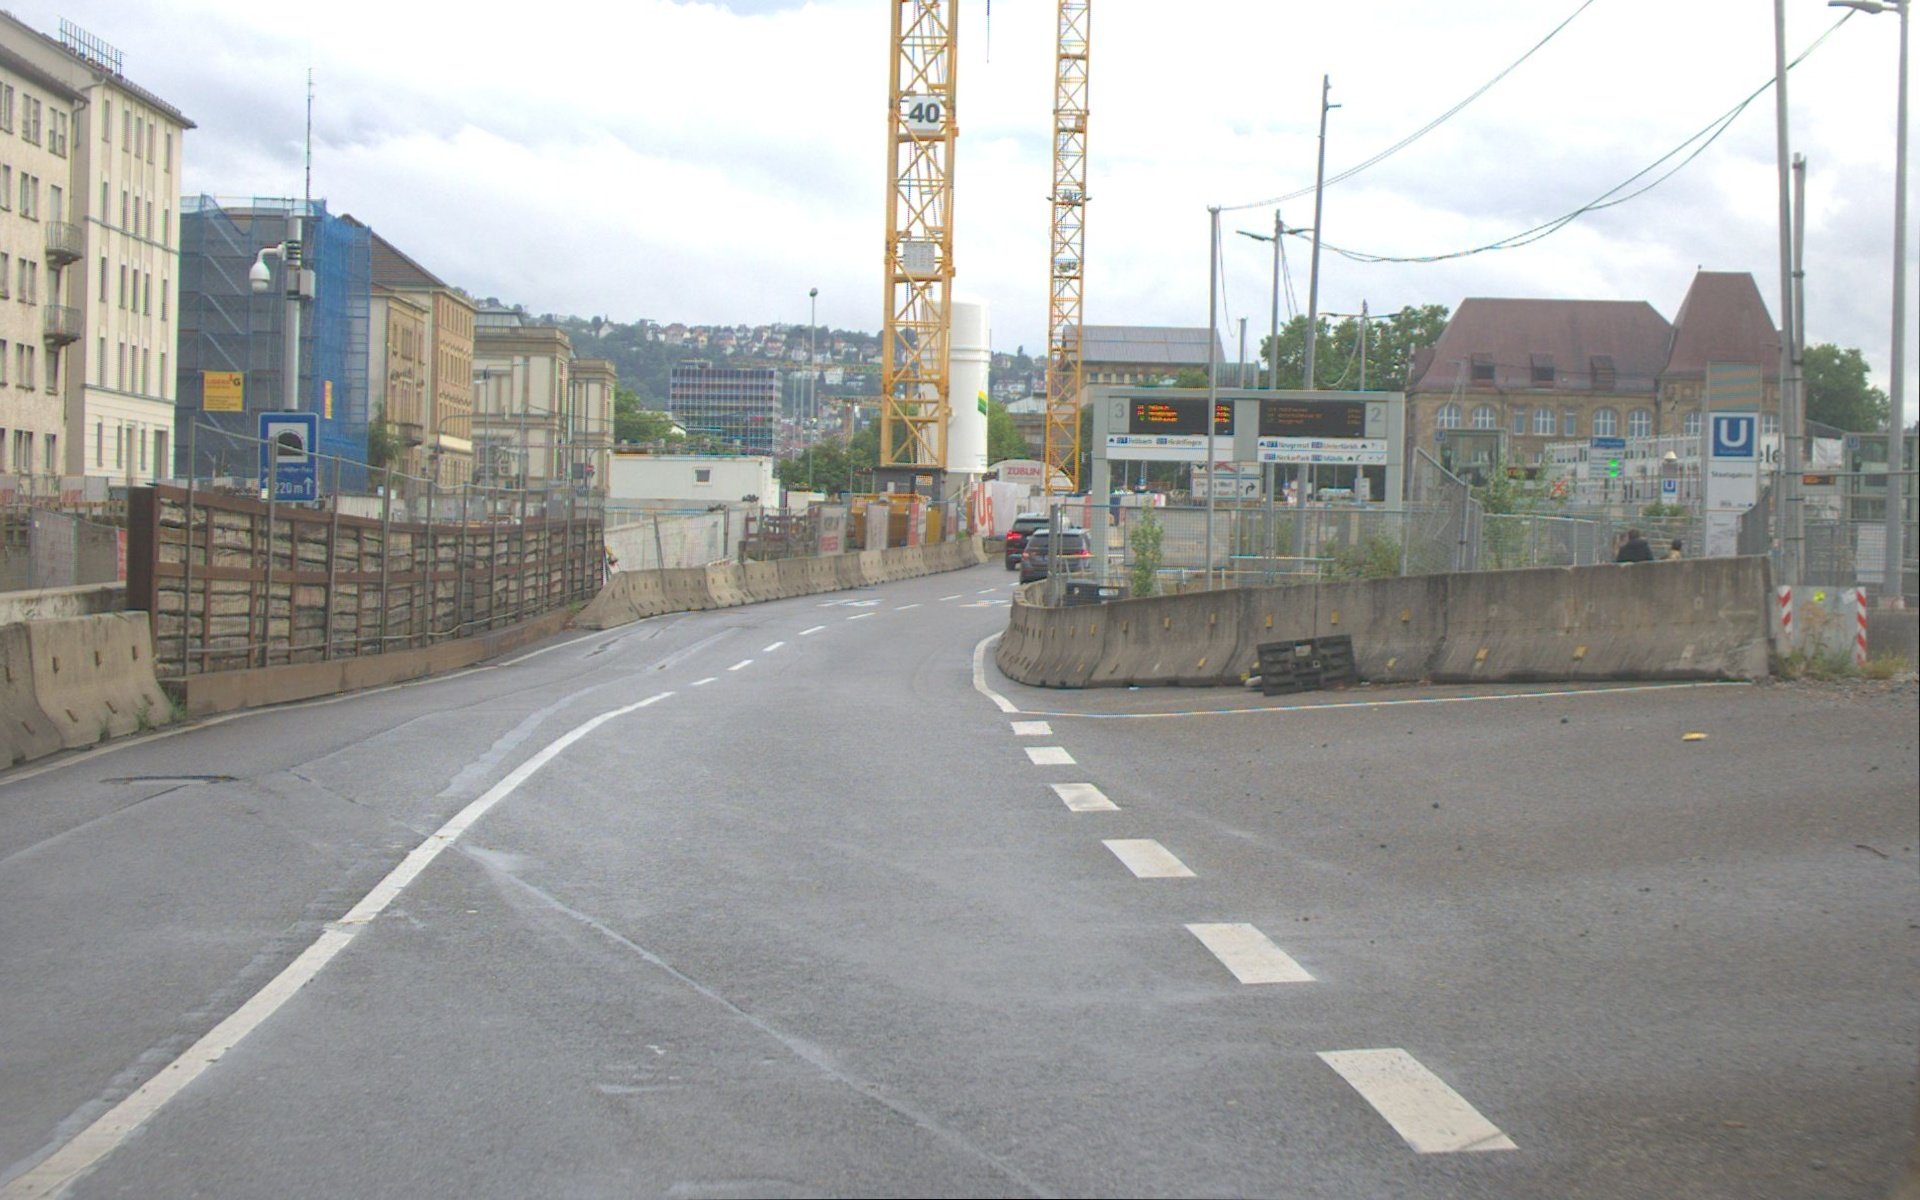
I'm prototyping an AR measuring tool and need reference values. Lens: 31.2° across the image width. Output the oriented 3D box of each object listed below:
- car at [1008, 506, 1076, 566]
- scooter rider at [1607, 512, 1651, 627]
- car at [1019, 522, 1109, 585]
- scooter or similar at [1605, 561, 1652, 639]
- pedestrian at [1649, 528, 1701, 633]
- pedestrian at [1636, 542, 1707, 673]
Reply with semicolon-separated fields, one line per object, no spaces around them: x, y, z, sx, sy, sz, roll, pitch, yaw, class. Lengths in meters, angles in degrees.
2.424;-1.894;100.946;1.863;1.655;4.656;2;2;2;car
10.308;-0.472;52.975;0.521;1.749;0.698;1;2;23;scooter rider
2.471;-1.110;80.717;1.863;1.428;4.655;0;1;5;car
10.303;-0.008;52.989;0.491;1.175;1.095;1;2;23;scooter or similar
12.259;-0.339;58.979;0.689;1.772;1.023;0;1;2;pedestrian
9.786;0.098;47.292;0.689;1.772;0.816;0;1;-11;pedestrian
